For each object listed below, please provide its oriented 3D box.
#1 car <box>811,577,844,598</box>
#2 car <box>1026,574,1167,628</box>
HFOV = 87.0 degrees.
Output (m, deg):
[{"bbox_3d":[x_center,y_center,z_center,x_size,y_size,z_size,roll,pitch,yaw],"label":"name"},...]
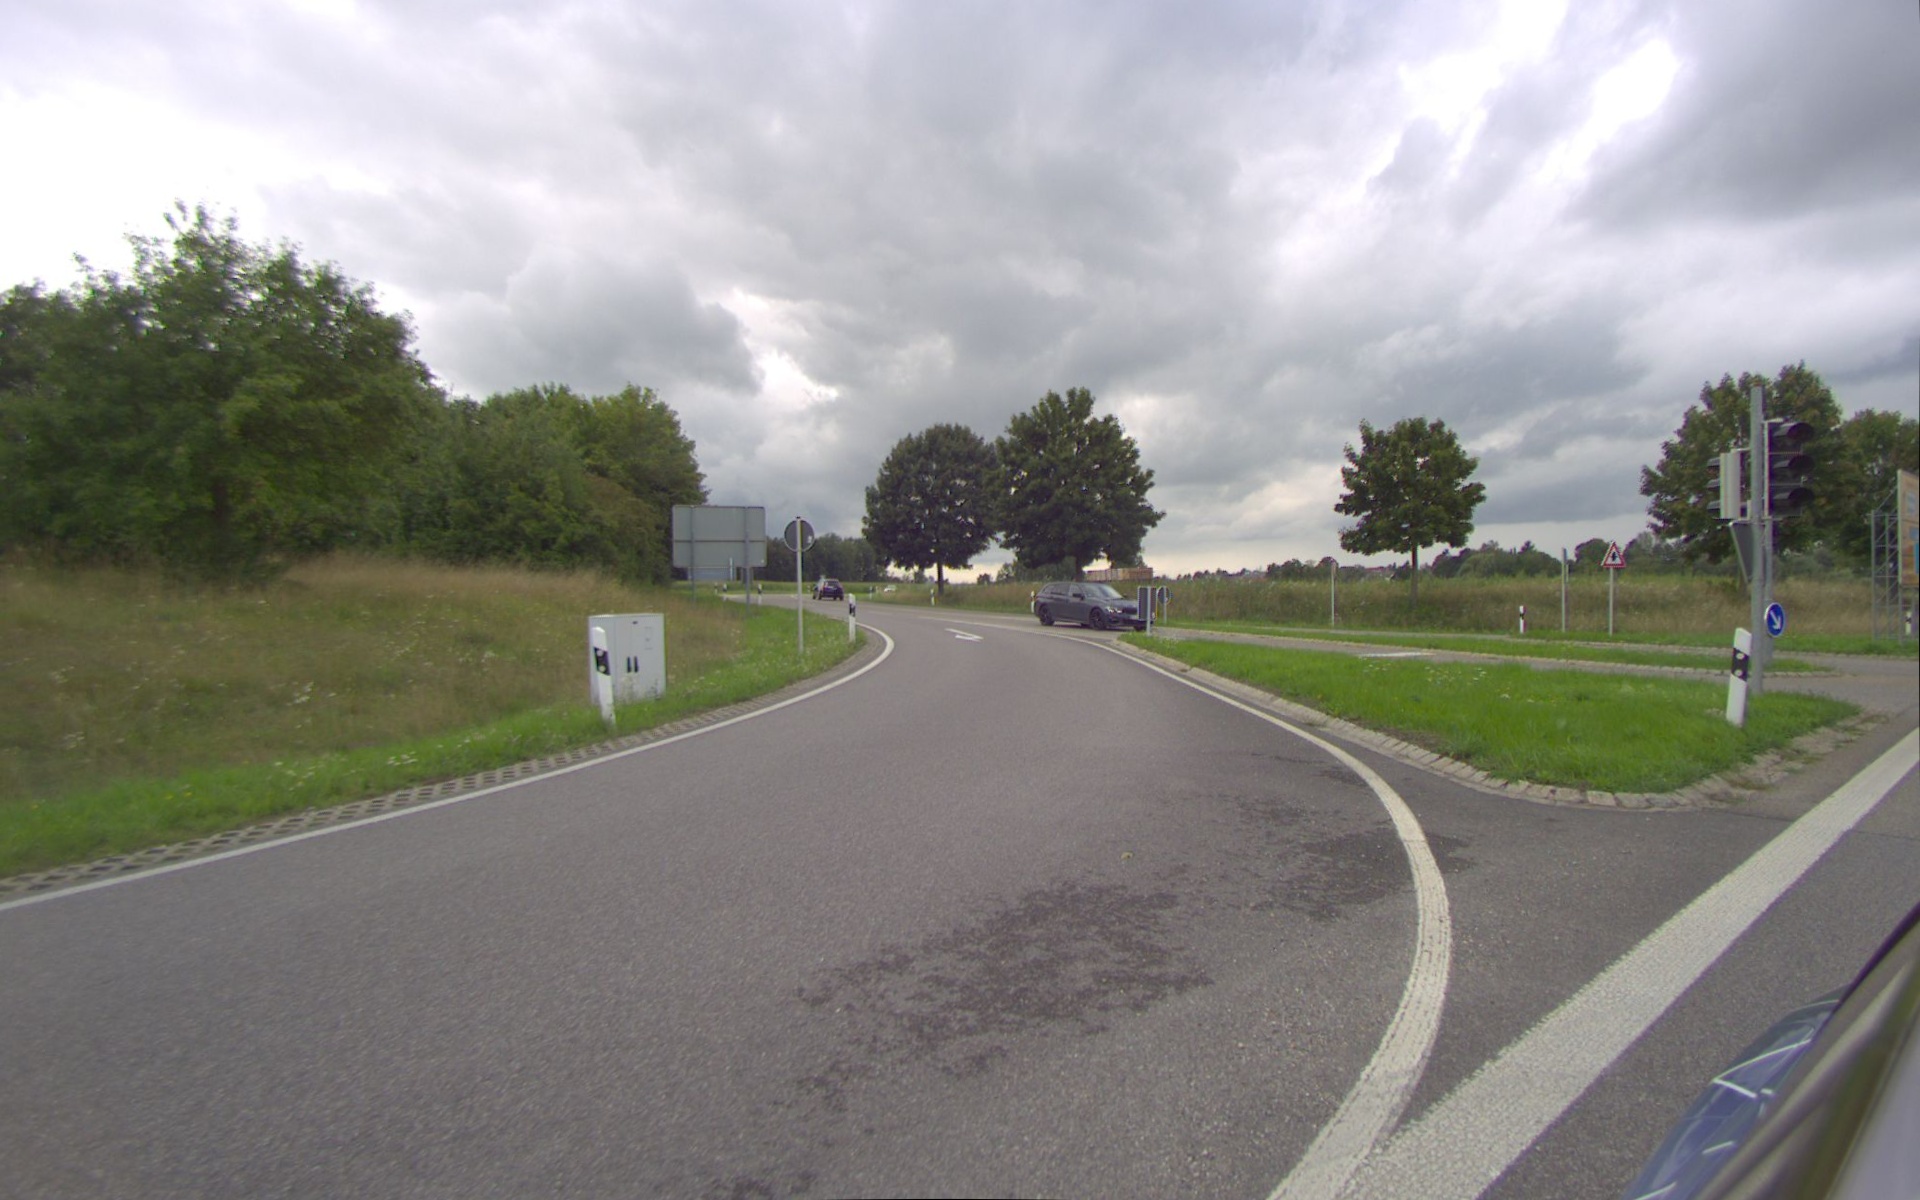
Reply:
[{"bbox_3d":[-9.467,-0.891,72.040,1.775,1.469,4.282,0,1,-15],"label":"car"},{"bbox_3d":[4.117,-0.008,31.254,1.959,1.522,4.674,0,1,-28],"label":"car"}]
